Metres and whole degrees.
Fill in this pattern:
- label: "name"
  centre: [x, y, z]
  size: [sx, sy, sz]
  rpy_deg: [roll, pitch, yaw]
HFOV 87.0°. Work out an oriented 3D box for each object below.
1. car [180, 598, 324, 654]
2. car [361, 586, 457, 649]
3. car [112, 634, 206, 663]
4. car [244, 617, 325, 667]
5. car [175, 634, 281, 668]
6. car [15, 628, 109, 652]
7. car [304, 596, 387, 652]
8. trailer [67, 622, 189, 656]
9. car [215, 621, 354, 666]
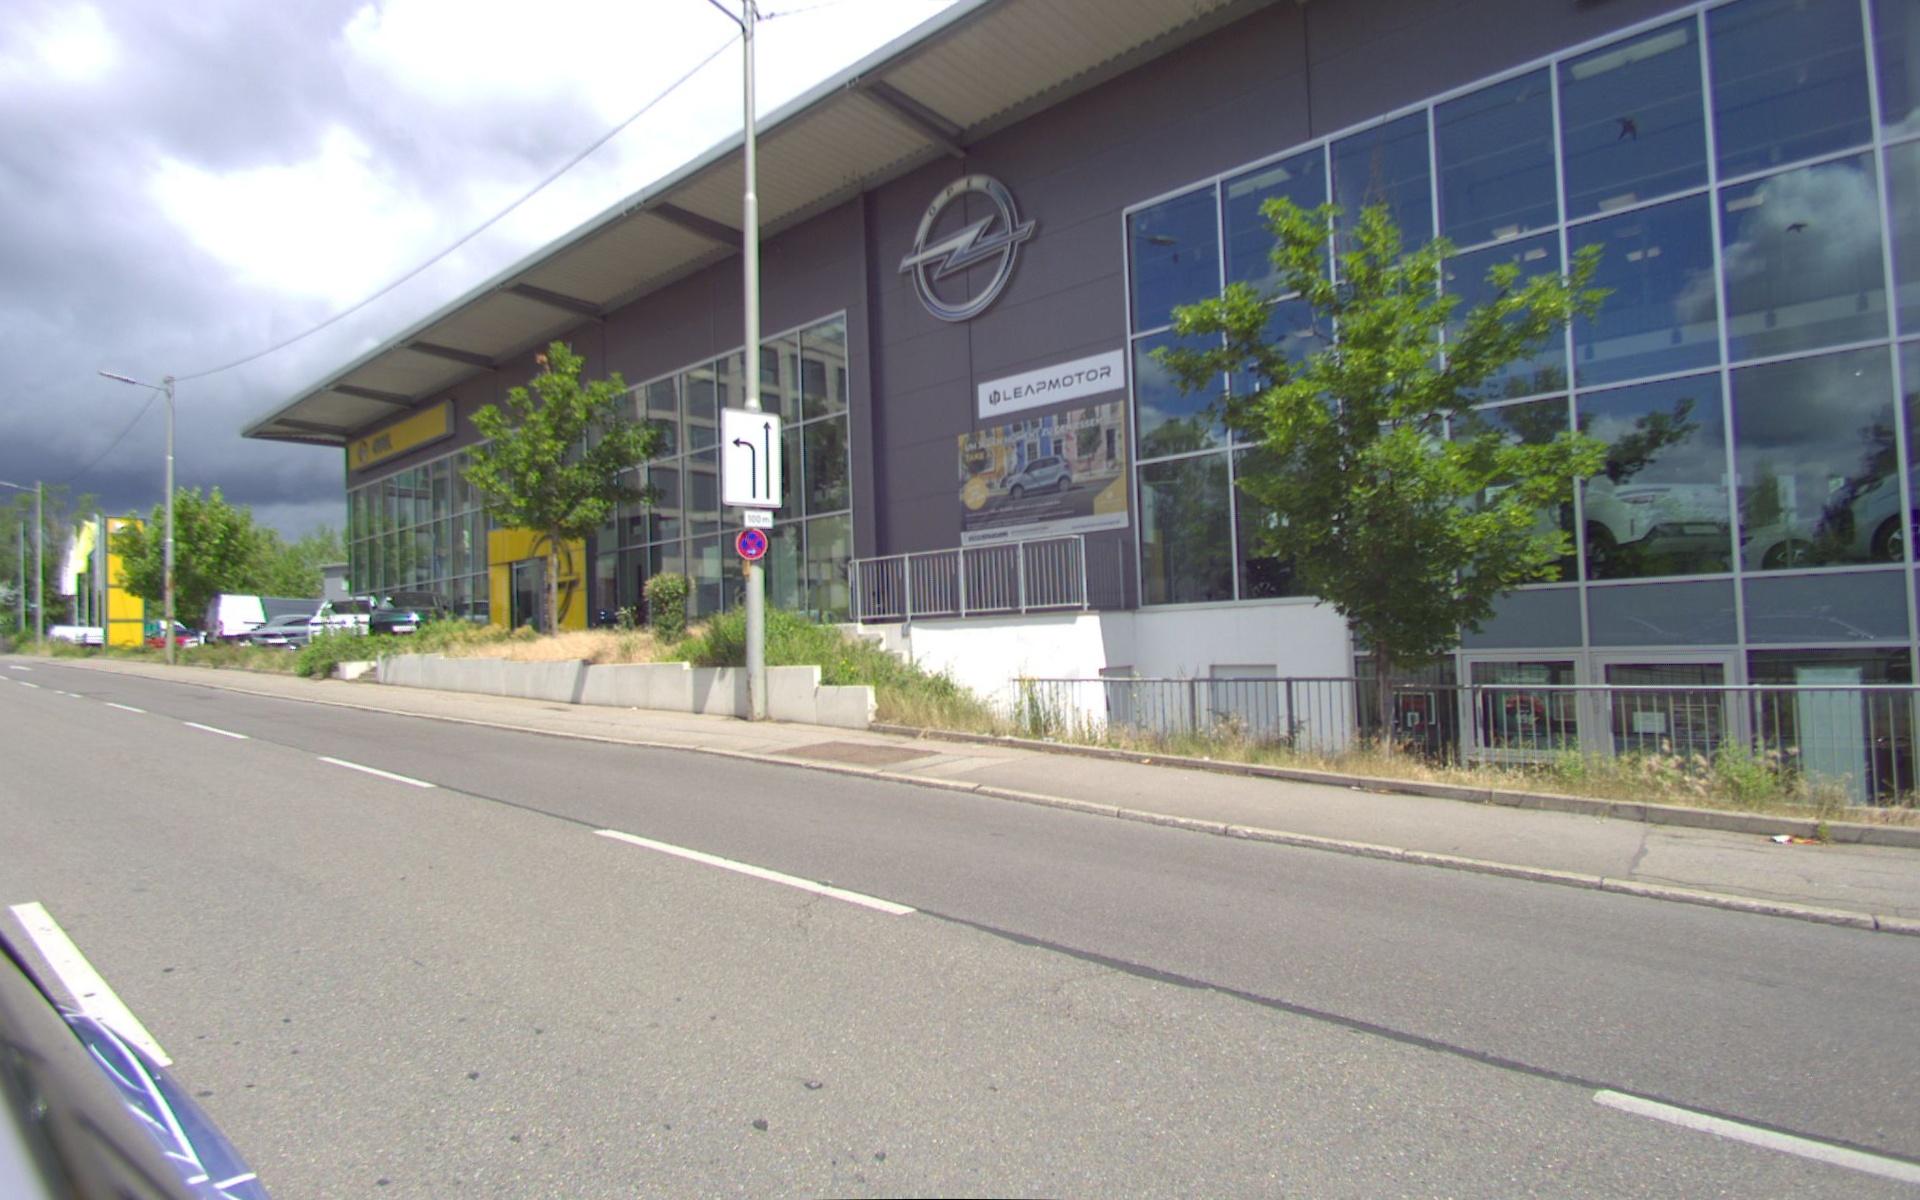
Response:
- label: "car"
  centre: [-29.277, 1.059, 41.962]
  size: [2.177, 2.211, 4.475]
  rpy_deg: [-1, -1, 39]
- label: "car"
  centre: [-15.455, 0.547, 28.596]
  size: [1.790, 1.625, 4.122]
  rpy_deg: [1, -2, -21]
- label: "car"
  centre: [-42.020, 2.526, 53.110]
  size: [1.814, 1.420, 3.621]
  rpy_deg: [-2, -2, 42]
- label: "car"
  centre: [-23.443, 1.441, 35.244]
  size: [1.767, 1.625, 4.122]
  rpy_deg: [1, -2, -26]
- label: "car"
  centre: [-35.527, 2.446, 49.174]
  size: [1.559, 1.539, 3.897]
  rpy_deg: [-2, -2, 38]
- label: "car"
  centre: [-57.612, 2.541, 64.990]
  size: [2.093, 1.493, 4.200]
  rpy_deg: [-2, -2, 38]
- label: "car"
  centre: [-19.226, 0.743, 31.829]
  size: [1.767, 1.625, 4.122]
  rpy_deg: [0, -1, -25]
- label: "trailer"
  centre: [-45.325, 2.096, 55.238]
  size: [2.092, 1.765, 4.776]
  rpy_deg: [-2, -2, 37]
- label: "car"
  centre: [-25.734, 1.640, 38.684]
  size: [1.792, 1.625, 4.064]
  rpy_deg: [-2, -2, 32]
